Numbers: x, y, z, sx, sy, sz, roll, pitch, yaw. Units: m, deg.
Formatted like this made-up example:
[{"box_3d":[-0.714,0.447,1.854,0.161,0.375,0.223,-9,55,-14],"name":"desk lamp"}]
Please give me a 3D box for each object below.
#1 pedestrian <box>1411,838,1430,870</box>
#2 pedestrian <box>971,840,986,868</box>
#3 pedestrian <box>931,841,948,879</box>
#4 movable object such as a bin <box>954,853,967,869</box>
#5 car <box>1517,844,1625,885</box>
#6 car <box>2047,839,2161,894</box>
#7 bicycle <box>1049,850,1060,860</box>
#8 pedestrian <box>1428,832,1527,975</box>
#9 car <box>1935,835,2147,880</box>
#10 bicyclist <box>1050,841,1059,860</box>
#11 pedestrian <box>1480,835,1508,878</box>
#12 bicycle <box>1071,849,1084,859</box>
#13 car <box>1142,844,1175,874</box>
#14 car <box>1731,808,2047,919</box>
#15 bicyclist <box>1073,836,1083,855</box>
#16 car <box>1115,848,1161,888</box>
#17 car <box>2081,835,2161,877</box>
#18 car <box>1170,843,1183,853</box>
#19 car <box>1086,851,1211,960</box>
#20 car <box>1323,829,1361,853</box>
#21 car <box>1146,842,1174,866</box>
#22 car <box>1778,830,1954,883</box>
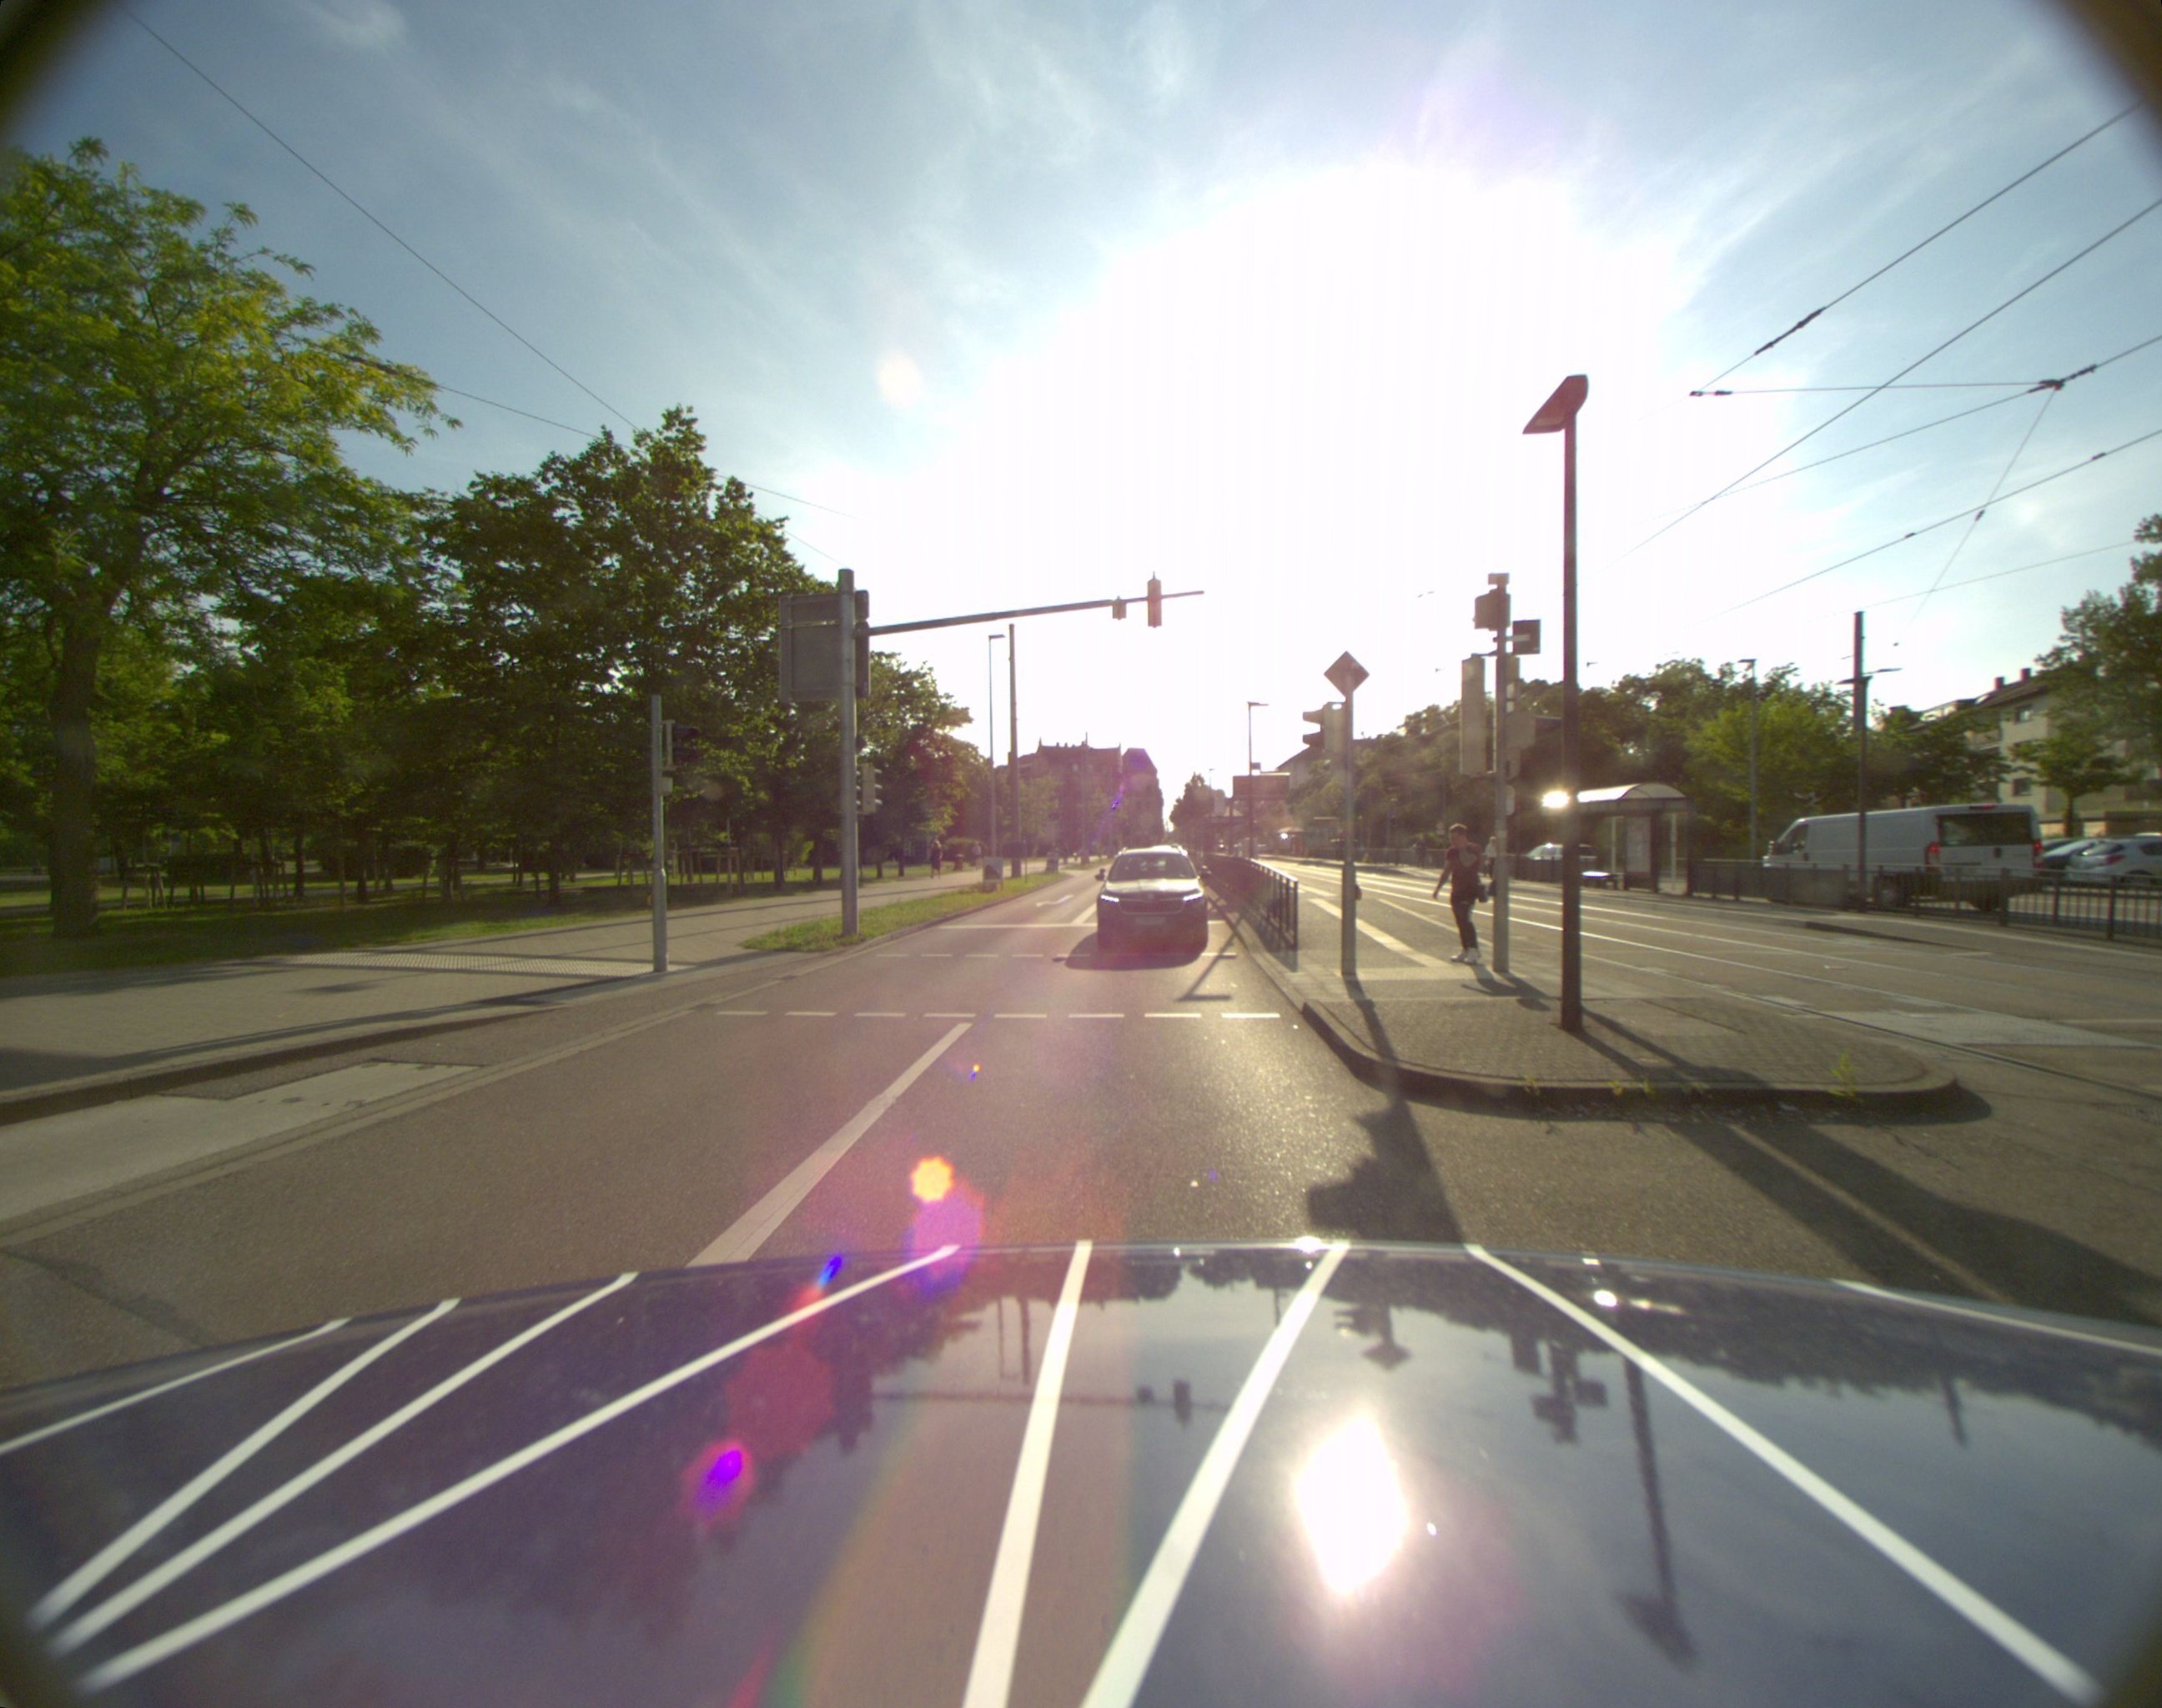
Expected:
[{"box_3d":[17.441,-0.027,39.074,0.736,1.619,0.689,-1,2,6],"name":"pedestrian"},{"box_3d":[-6.128,-0.012,45.552,0.623,1.642,0.660,-2,2,-42],"name":"pedestrian"},{"box_3d":[-6.370,0.246,34.281,0.558,1.691,0.662,-1,2,6],"name":"pedestrian"},{"box_3d":[-7.005,0.426,44.159,0.502,0.899,0.526,1,2,45],"name":"movable object such as a bin"},{"box_3d":[19.551,0.399,30.545,1.681,1.517,4.124,-1,0,0],"name":"car"},{"box_3d":[29.087,0.316,20.081,3.989,1.420,1.775,0,1,27],"name":"car"},{"box_3d":[-2.485,0.069,70.421,0.740,0.912,2.095,-1,1,5],"name":"bicycle"},{"box_3d":[4.770,0.570,9.189,0.882,1.661,0.672,0,2,9],"name":"pedestrian"},{"box_3d":[31.755,0.091,25.331,3.989,1.420,1.775,0,1,27],"name":"car"},{"box_3d":[-2.456,-0.304,70.375,0.753,1.763,1.119,-1,2,5],"name":"bicyclist"},{"box_3d":[15.680,0.085,28.889,0.707,1.619,0.727,-1,2,6],"name":"pedestrian"},{"box_3d":[-0.282,-0.030,70.231,0.739,0.912,2.096,0,1,12],"name":"bicycle"},{"box_3d":[4.236,0.229,41.447,1.671,1.496,3.873,-1,1,6],"name":"car"},{"box_3d":[18.501,0.167,17.932,2.181,2.226,5.255,-1,1,6],"name":"car"},{"box_3d":[-0.271,-0.811,70.270,0.730,1.764,1.016,0,2,10],"name":"bicyclist"},{"box_3d":[2.463,0.550,31.916,1.780,1.496,4.001,-1,1,6],"name":"car"},{"box_3d":[47.114,0.039,33.732,1.813,1.790,4.007,0,1,29],"name":"car"},{"box_3d":[16.136,-1.060,128.146,1.998,1.674,4.001,-1,1,5],"name":"car"},{"box_3d":[1.218,0.761,13.245,1.780,1.496,4.001,-3,1,6],"name":"car"},{"box_3d":[23.457,-1.181,68.497,2.149,2.002,5.388,-1,1,7],"name":"car"},{"box_3d":[5.302,-0.002,50.769,1.780,1.496,4.001,-1,1,6],"name":"car"},{"box_3d":[43.306,0.160,42.182,6.585,2.793,1.775,-1,1,27],"name":"car"}]
